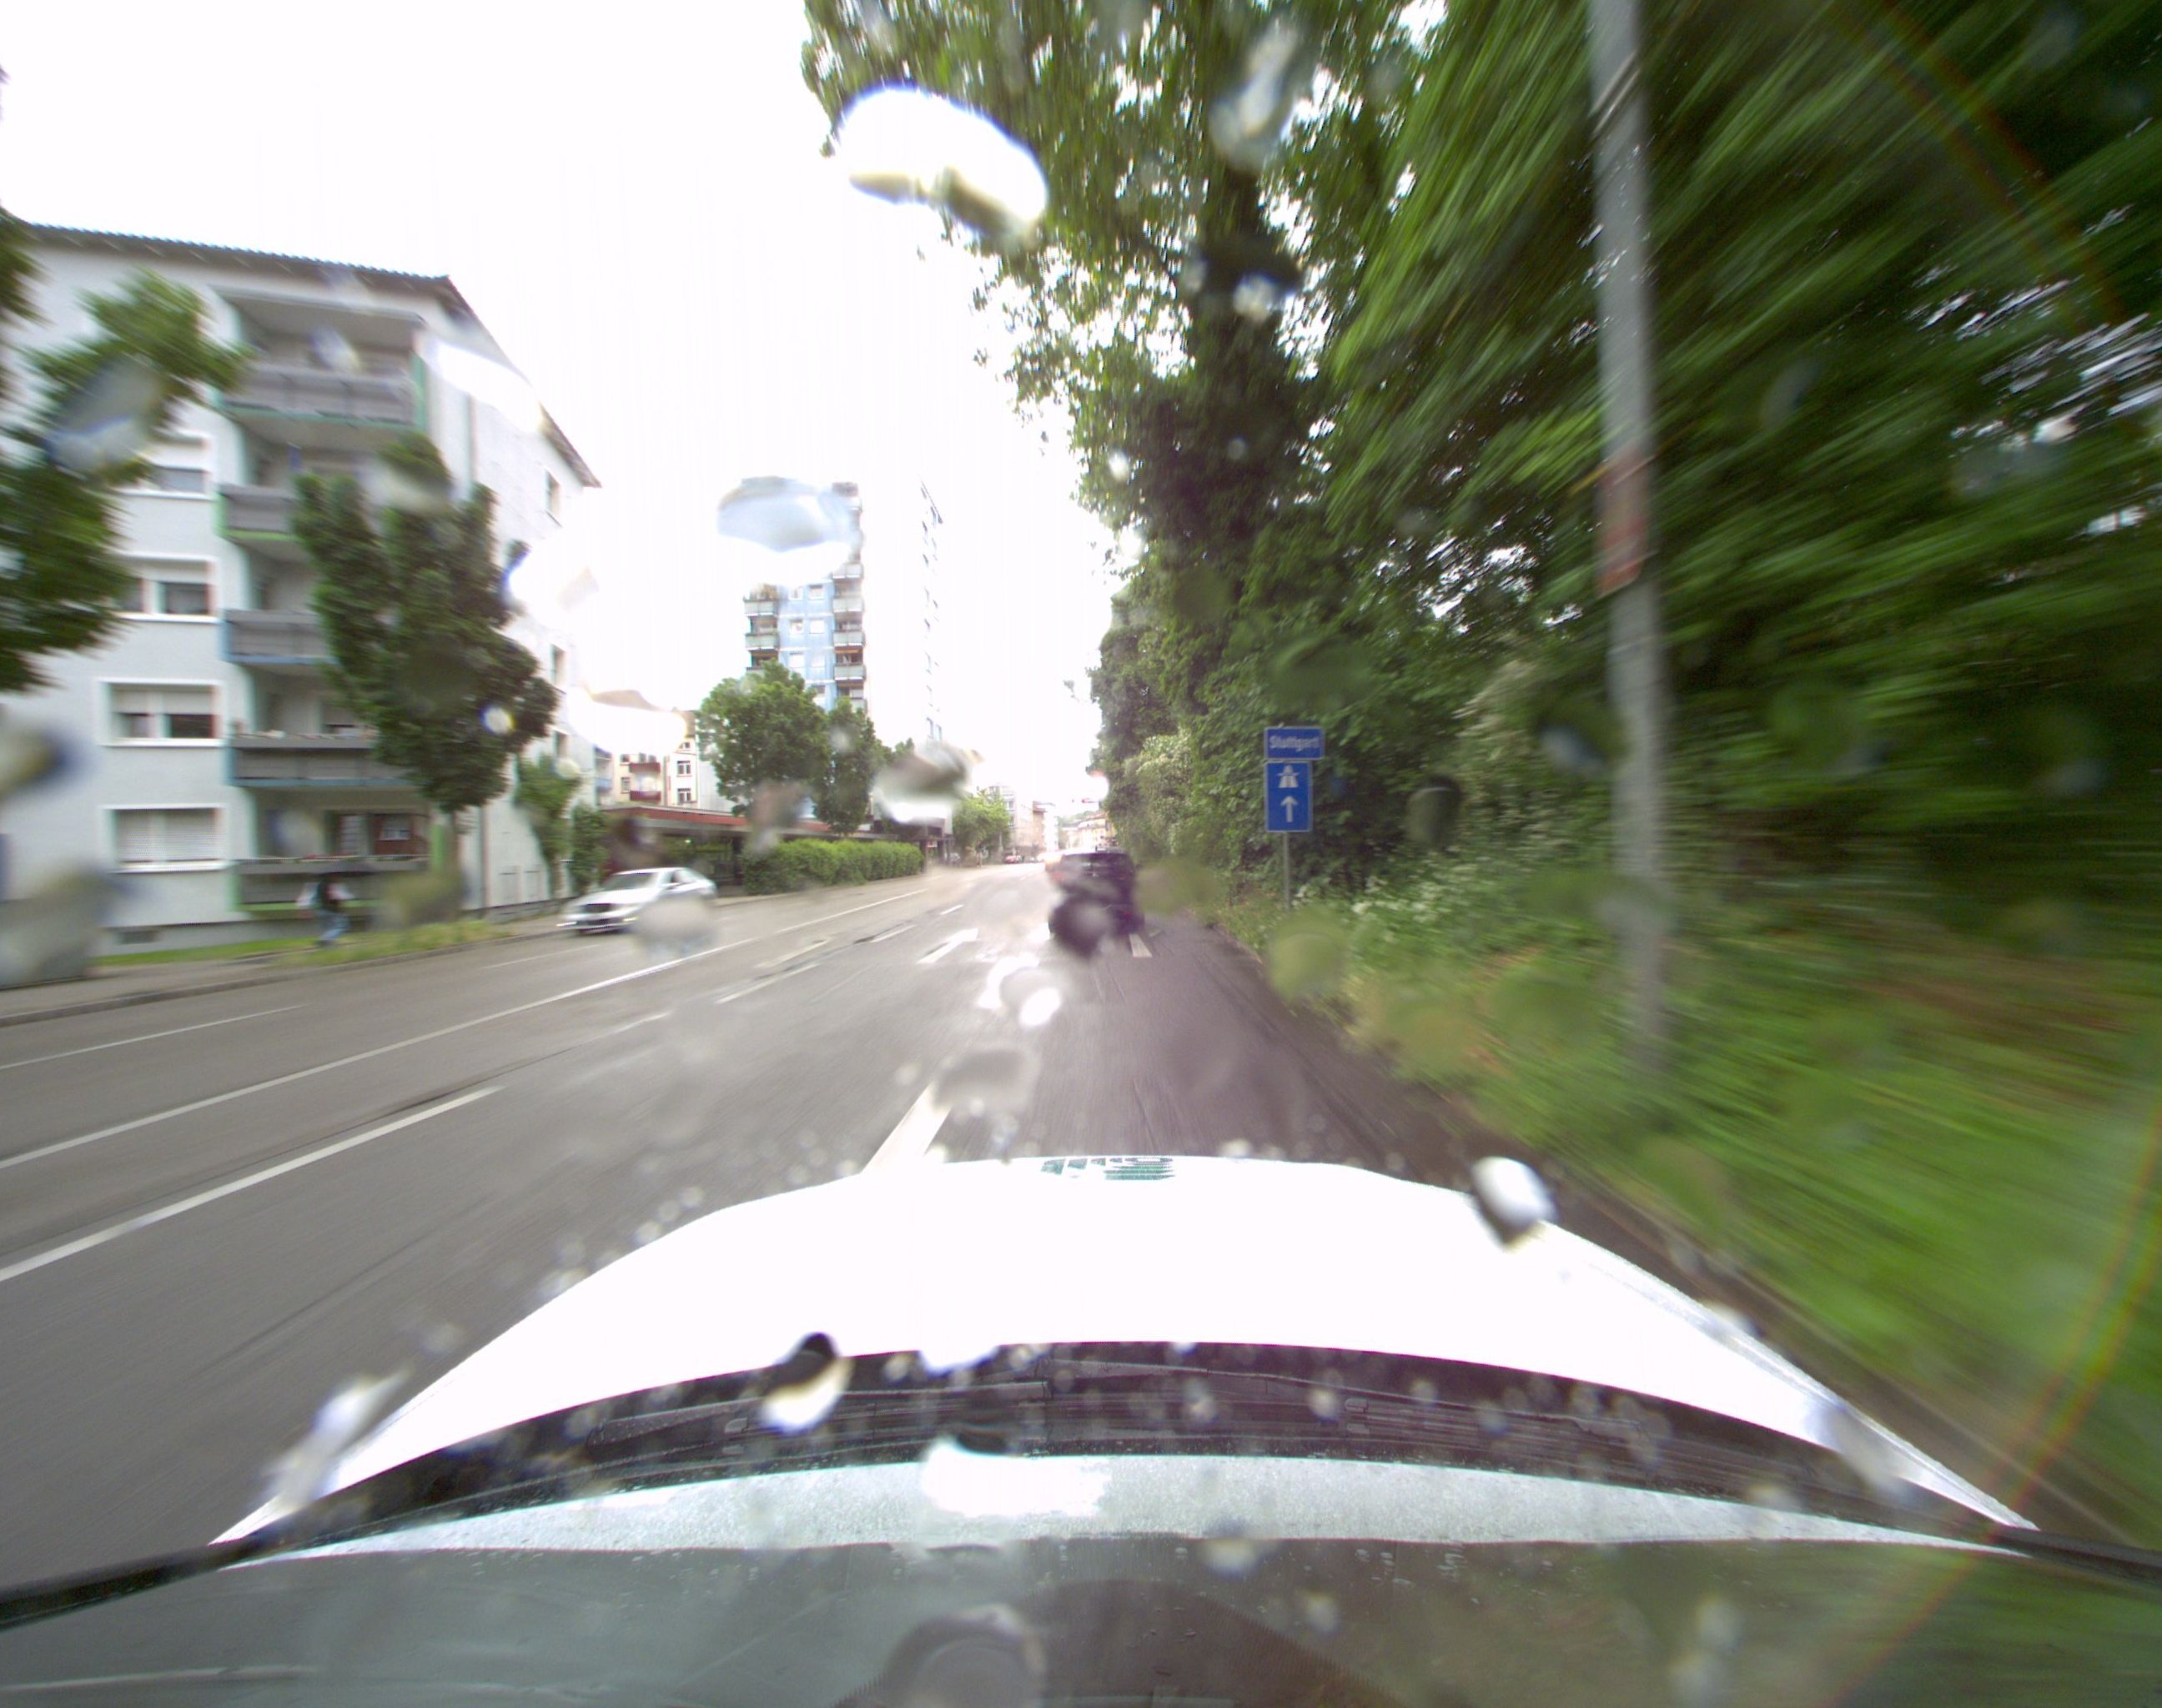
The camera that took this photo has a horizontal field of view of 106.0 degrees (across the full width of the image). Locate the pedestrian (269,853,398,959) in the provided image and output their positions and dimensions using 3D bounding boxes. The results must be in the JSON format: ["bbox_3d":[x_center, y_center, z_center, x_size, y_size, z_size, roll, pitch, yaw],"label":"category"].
[{"bbox_3d":[-13.668,0.915,14.944,1.132,1.804,1.262,-2,0,-3],"label":"pedestrian"}]

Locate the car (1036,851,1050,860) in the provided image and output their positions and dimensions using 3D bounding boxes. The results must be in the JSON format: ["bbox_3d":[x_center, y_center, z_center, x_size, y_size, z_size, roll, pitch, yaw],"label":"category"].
[{"bbox_3d":[-6.311,0.253,135.583,1.991,1.453,3.992,-2,0,-6],"label":"car"}]

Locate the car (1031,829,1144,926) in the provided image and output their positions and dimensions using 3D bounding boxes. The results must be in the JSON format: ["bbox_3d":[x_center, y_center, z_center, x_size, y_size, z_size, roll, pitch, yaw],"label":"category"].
[{"bbox_3d":[0.125,0.398,16.462,1.953,1.652,4.000,-2,0,0],"label":"car"}]

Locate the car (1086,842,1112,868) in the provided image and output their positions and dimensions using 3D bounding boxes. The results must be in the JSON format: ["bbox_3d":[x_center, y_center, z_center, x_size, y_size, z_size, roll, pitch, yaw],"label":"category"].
[{"bbox_3d":[1.423,0.060,65.353,1.986,2.013,4.001,-2,0,1],"label":"car"}]

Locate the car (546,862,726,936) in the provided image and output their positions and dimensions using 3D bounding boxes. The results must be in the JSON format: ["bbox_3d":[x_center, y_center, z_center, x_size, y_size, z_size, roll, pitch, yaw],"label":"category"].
[{"bbox_3d":[-10.480,0.976,19.654,1.869,1.390,4.622,-4,1,-3],"label":"car"}]

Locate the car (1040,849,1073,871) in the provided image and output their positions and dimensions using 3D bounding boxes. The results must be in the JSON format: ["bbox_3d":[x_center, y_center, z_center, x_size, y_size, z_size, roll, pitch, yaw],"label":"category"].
[{"bbox_3d":[-1.726,0.389,58.756,2.058,1.464,4.588,-2,1,2],"label":"car"}]

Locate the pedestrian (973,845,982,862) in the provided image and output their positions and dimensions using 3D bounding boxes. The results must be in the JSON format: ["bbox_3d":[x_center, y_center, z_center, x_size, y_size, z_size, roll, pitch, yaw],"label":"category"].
[{"bbox_3d":[-12.235,-0.038,96.484,0.940,2.013,0.884,-2,0,-8],"label":"pedestrian"}]

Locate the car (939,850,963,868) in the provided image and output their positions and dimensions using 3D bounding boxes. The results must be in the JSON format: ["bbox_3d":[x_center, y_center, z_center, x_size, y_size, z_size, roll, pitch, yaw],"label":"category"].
[{"bbox_3d":[-12.975,0.487,81.440,1.533,1.706,4.289,-1,0,1],"label":"car"}]

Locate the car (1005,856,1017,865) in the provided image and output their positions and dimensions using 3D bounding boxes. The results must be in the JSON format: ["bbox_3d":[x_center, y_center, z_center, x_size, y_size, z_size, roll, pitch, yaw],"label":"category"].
[{"bbox_3d":[-12.024,1.110,139.441,1.667,1.478,3.607,-3,0,-1],"label":"car"}]
